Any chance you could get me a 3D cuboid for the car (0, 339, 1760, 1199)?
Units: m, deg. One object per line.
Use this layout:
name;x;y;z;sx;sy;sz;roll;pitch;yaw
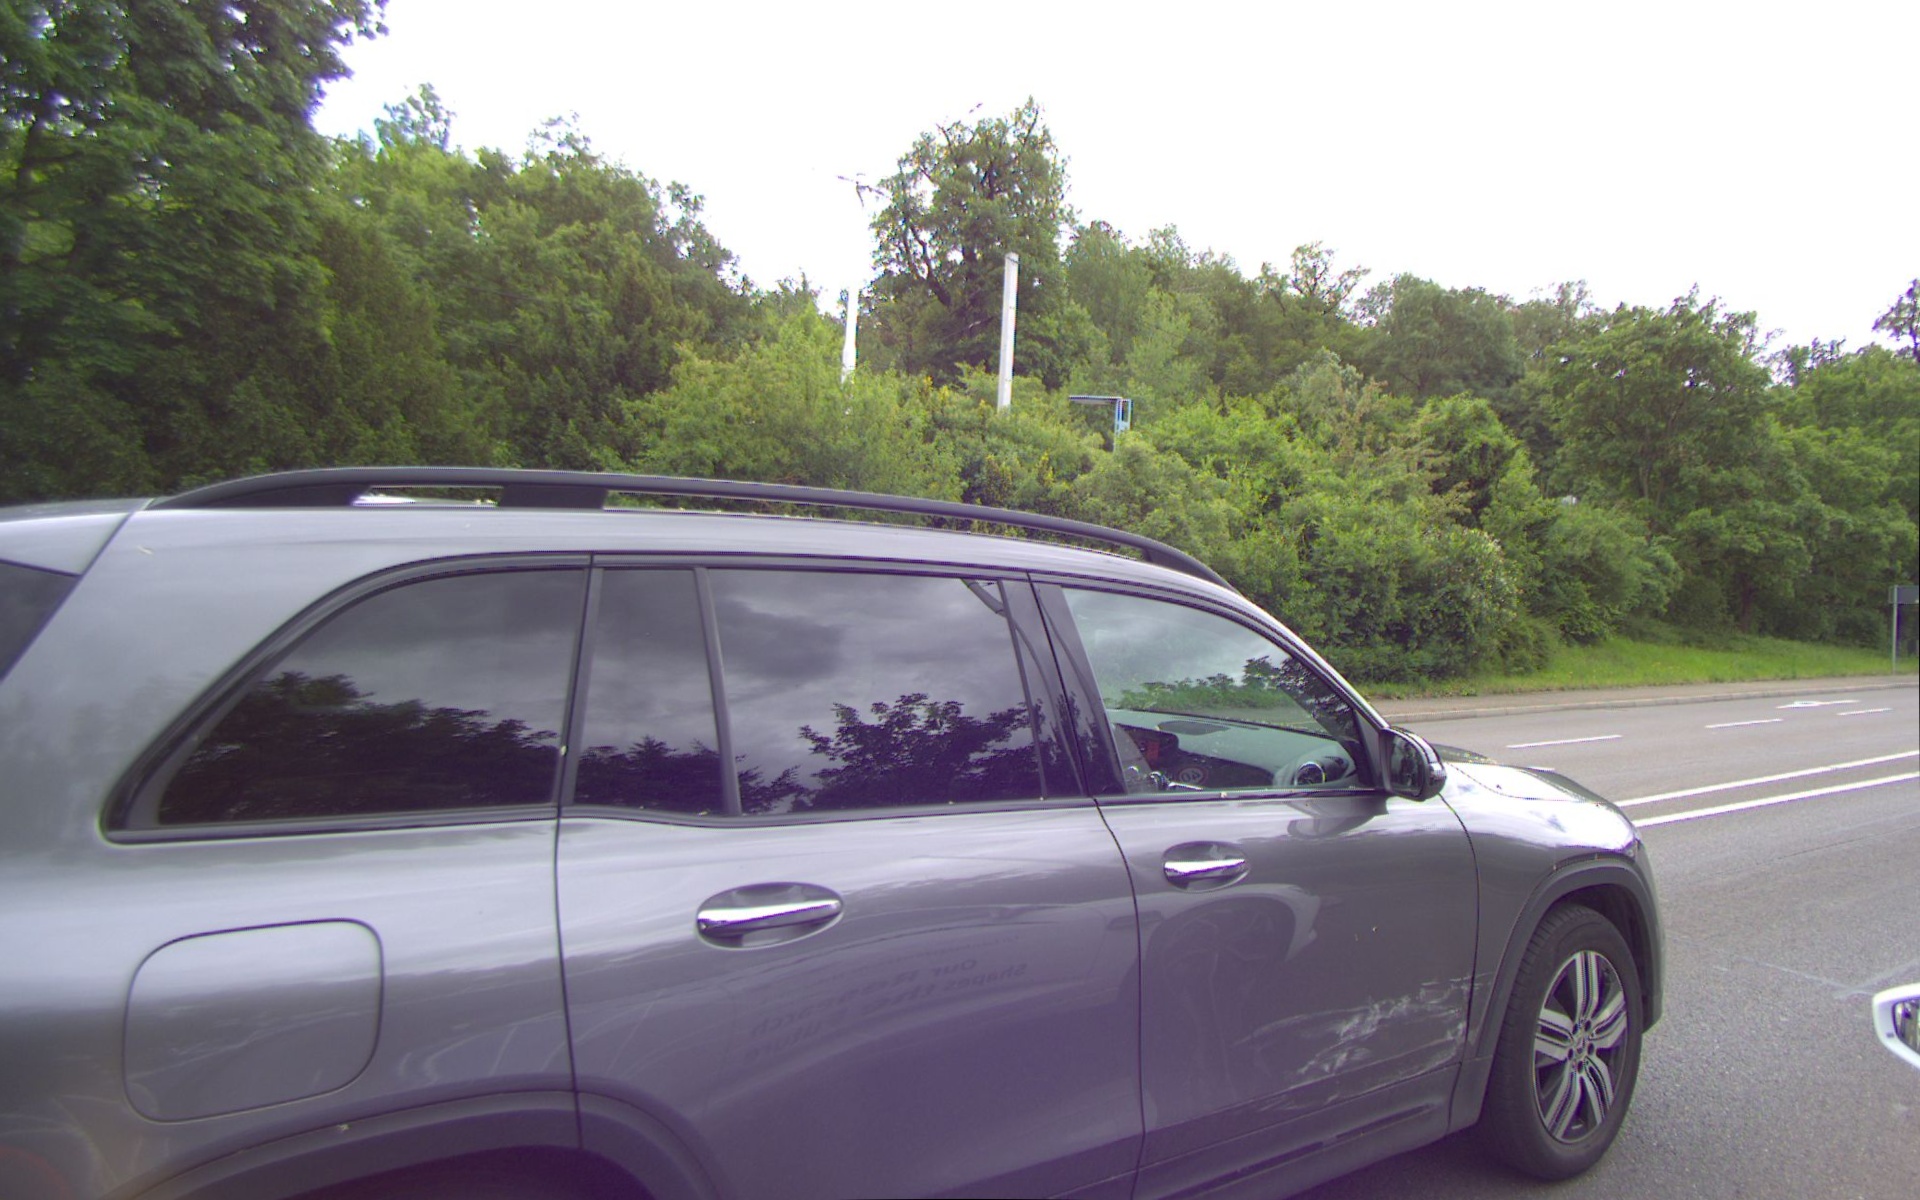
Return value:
car;0.069;0.636;2.623;4.309;1.673;1.839;2;-1;-32
